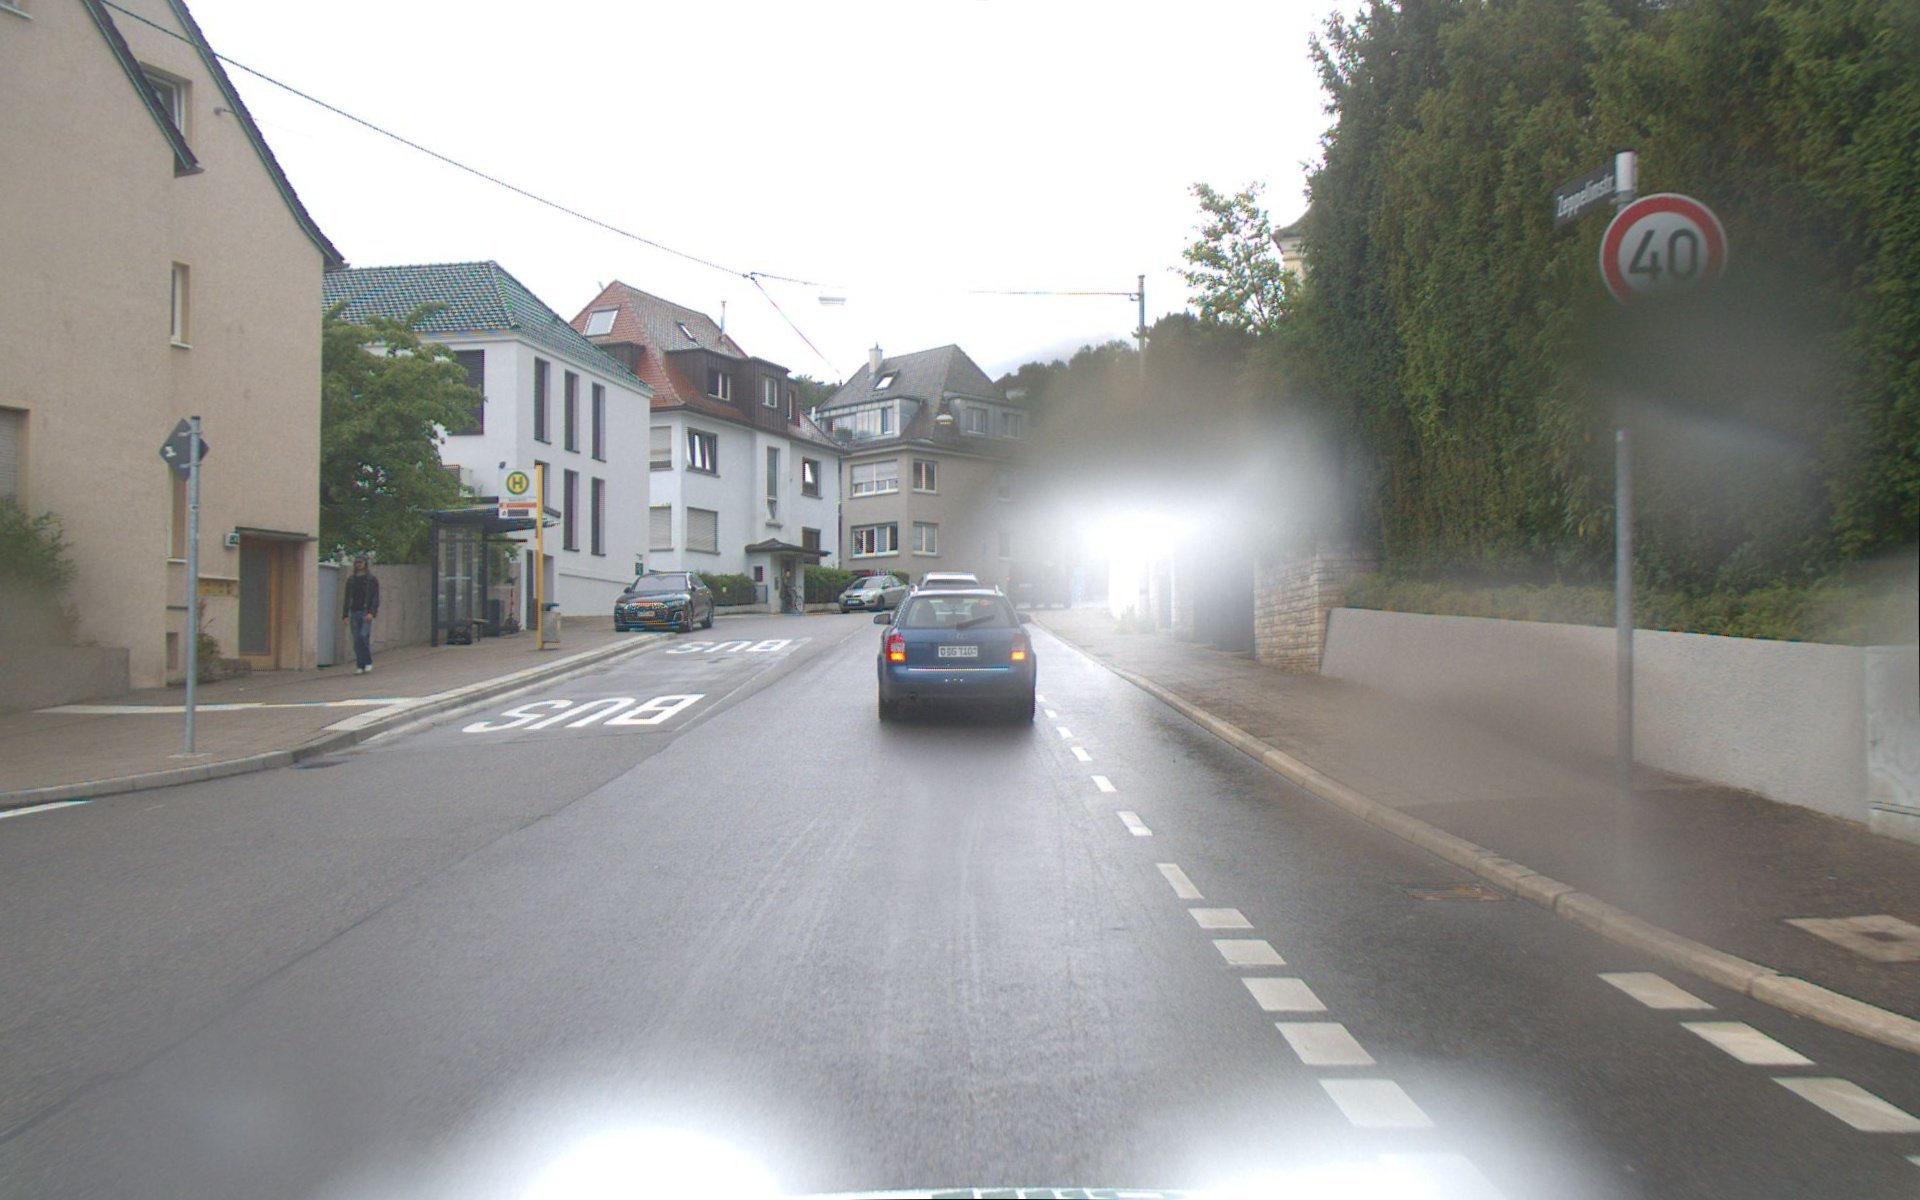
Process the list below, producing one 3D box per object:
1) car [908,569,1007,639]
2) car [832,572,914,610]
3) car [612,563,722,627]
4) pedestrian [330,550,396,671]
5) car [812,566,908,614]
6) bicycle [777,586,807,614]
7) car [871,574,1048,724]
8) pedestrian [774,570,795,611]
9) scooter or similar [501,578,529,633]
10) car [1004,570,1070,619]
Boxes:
[{"bbox_3d":[-0.105,0.098,35.352,1.776,1.384,3.996,1,-1,-5],"label":"car"},{"bbox_3d":[-3.541,-0.386,68.246,1.798,1.450,4.230,-2,0,21],"label":"car"},{"bbox_3d":[-7.524,-0.140,42.945,1.791,1.511,4.992,-1,0,2],"label":"car"},{"bbox_3d":[-9.482,0.160,26.281,0.770,1.889,0.728,1,0,-1],"label":"pedestrian"},{"bbox_3d":[-4.663,-0.462,77.178,3.910,1.854,1.998,-6,-2,27],"label":"car"},{"bbox_3d":[-6.637,-0.014,65.586,0.446,1.085,1.923,-1,1,17],"label":"bicycle"},{"bbox_3d":[-0.011,0.466,18.876,1.774,1.464,4.081,1,1,0],"label":"car"},{"bbox_3d":[-7.004,-0.380,66.020,0.482,1.604,0.948,-1,1,17],"label":"pedestrian"},{"bbox_3d":[-10.206,0.115,37.927,0.330,1.241,1.123,0,0,0],"label":"scooter or similar"},{"bbox_3d":[2.976,-0.214,63.501,1.887,1.735,4.003,3,0,11],"label":"car"}]
